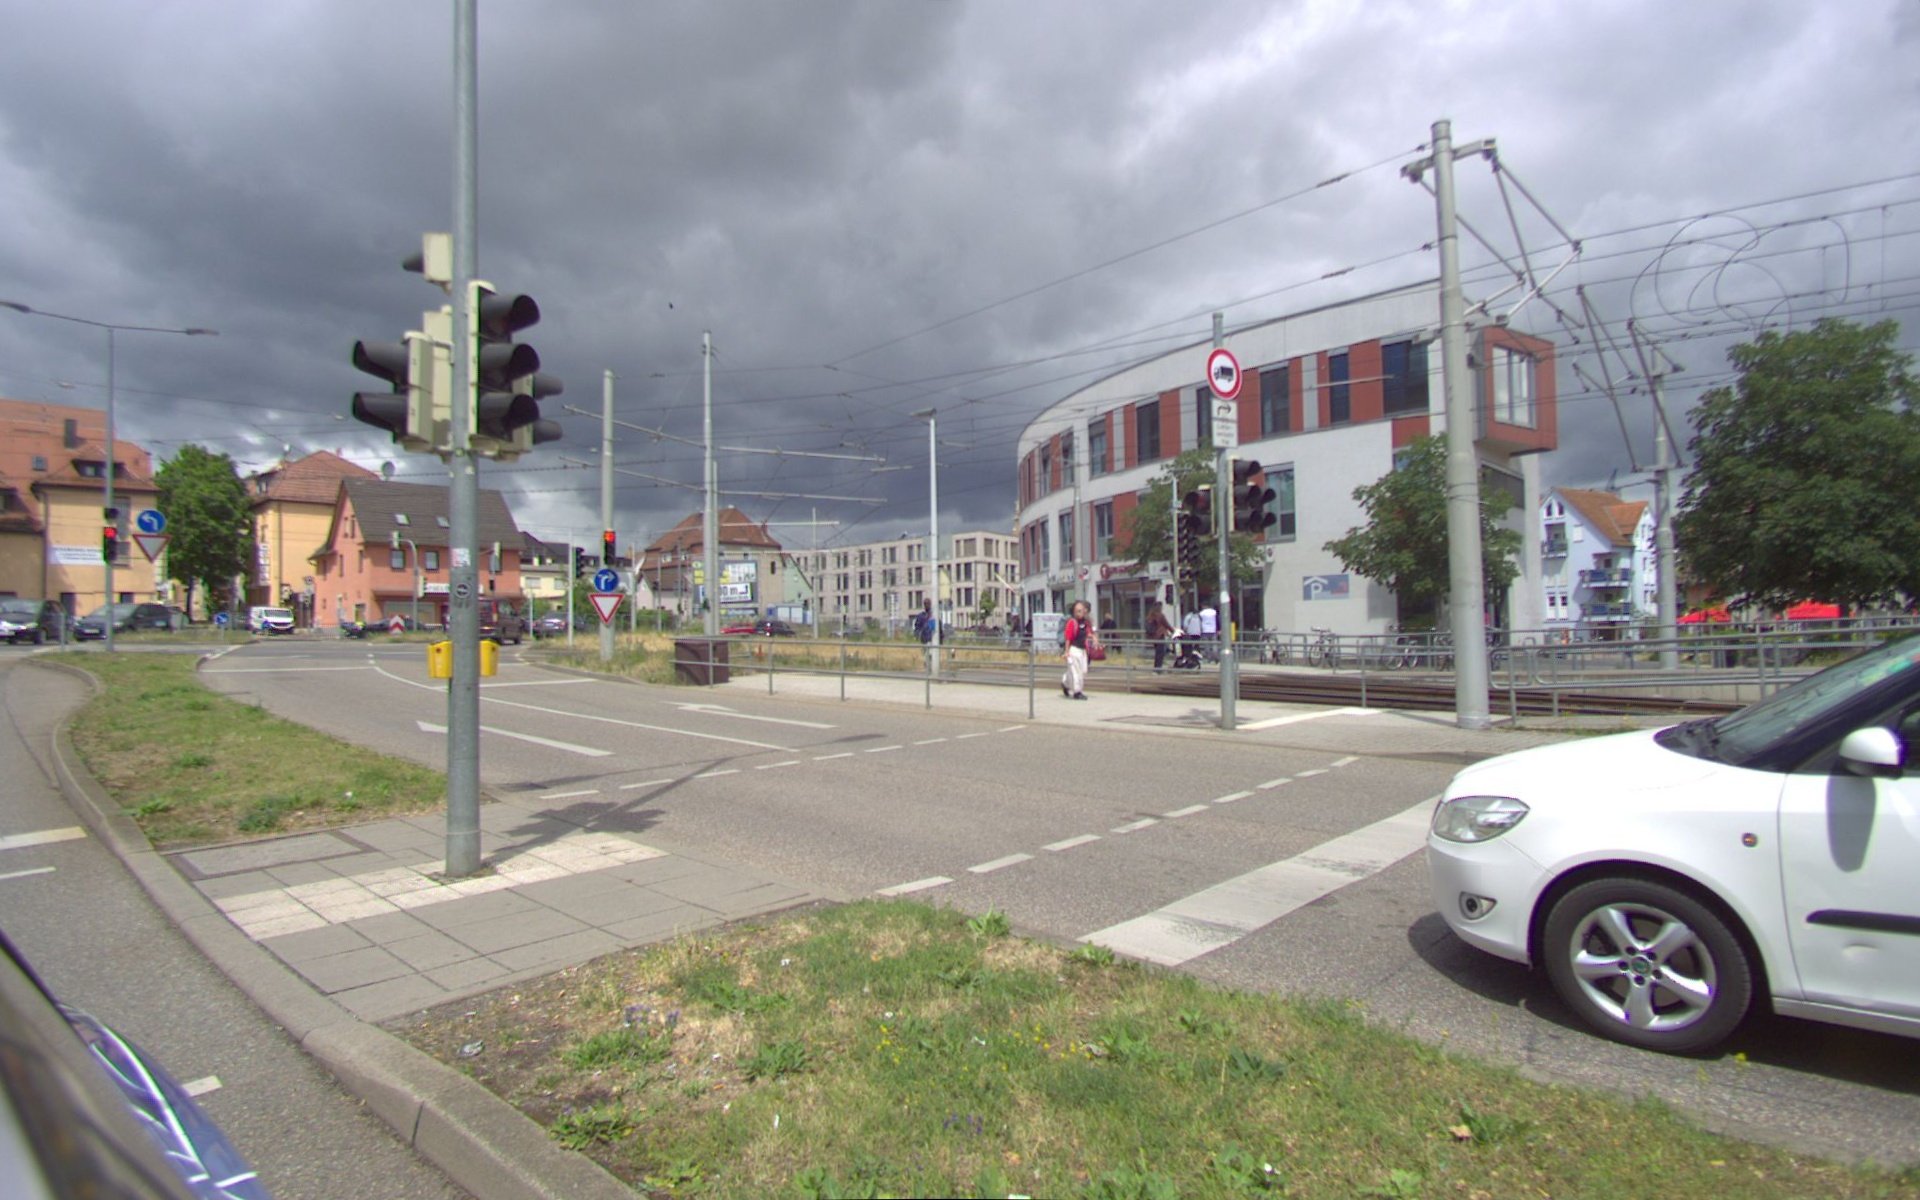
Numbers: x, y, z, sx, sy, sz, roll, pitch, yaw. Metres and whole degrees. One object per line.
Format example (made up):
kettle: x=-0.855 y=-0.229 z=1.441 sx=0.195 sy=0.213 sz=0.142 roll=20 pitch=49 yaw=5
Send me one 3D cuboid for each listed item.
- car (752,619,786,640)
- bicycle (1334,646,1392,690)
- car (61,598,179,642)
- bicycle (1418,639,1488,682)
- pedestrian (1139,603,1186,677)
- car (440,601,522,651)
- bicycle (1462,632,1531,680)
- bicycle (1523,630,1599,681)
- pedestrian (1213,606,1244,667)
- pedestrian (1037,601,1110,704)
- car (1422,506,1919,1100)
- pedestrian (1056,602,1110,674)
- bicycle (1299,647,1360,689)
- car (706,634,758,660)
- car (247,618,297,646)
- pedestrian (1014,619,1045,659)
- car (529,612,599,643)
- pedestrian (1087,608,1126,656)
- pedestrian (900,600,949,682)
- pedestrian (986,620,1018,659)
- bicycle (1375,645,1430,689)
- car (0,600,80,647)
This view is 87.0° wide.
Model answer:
car: x=-14.902 y=2.298 z=79.065 sx=1.786 sy=1.592 sz=4.294 roll=0 pitch=-1 yaw=1
bicycle: x=10.614 y=1.766 z=26.634 sx=1.876 sy=1.106 sz=0.695 roll=2 pitch=-2 yaw=-43
car: x=-34.464 y=0.866 z=41.681 sx=1.967 sy=1.662 sz=4.431 roll=-1 pitch=-3 yaw=-13
bicycle: x=12.212 y=1.485 z=25.065 sx=1.873 sy=1.037 sz=0.696 roll=2 pitch=-3 yaw=-33
pedestrian: x=4.520 y=0.882 z=22.565 sx=0.821 sy=1.608 sz=0.644 roll=1 pitch=-1 yaw=-38
car: x=-18.772 y=0.972 z=39.903 sx=1.966 sy=1.836 sz=5.086 roll=0 pitch=-1 yaw=-14
bicycle: x=12.715 y=1.306 z=23.958 sx=1.873 sy=1.106 sz=0.610 roll=2 pitch=-3 yaw=-34
bicycle: x=13.559 y=1.241 z=22.819 sx=1.873 sy=1.106 sz=0.696 roll=2 pitch=-5 yaw=-34
pedestrian: x=7.882 y=1.072 z=29.709 sx=0.829 sy=1.748 sz=0.665 roll=0 pitch=-2 yaw=22
pedestrian: x=1.784 y=0.800 z=15.826 sx=0.834 sy=1.552 sz=0.791 roll=-1 pitch=-2 yaw=41
car: x=3.781 y=0.549 z=2.954 sx=4.078 sy=1.661 sz=1.680 roll=-2 pitch=-2 yaw=43
pedestrian: x=2.889 y=0.896 z=23.782 sx=0.851 sy=1.649 sz=0.921 roll=3 pitch=-3 yaw=-44
bicycle: x=9.971 y=1.829 z=27.293 sx=1.874 sy=1.106 sz=0.695 roll=3 pitch=-4 yaw=-39
car: x=-18.801 y=3.851 z=83.574 sx=1.993 sy=2.029 sz=3.958 roll=-3 pitch=-3 yaw=31
car: x=-49.403 y=2.270 z=72.637 sx=4.663 sy=1.912 sz=2.051 roll=-2 pitch=-2 yaw=44
pedestrian: x=3.626 y=2.025 z=52.745 sx=1.235 sy=2.029 sz=1.143 roll=1 pitch=-2 yaw=-24
car: x=-19.785 y=1.351 z=50.822 sx=1.776 sy=1.421 sz=5.056 roll=1 pitch=-1 yaw=-3
pedestrian: x=6.329 y=1.398 z=43.835 sx=1.236 sy=2.029 sz=1.143 roll=2 pitch=-2 yaw=-29
pedestrian: x=-0.714 y=0.826 z=20.553 sx=0.668 sy=1.616 sz=0.826 roll=0 pitch=-2 yaw=30
pedestrian: x=2.172 y=2.051 z=52.500 sx=1.235 sy=2.029 sz=1.143 roll=1 pitch=-2 yaw=-24
bicycle: x=11.387 y=1.707 z=26.005 sx=0.694 sy=1.071 sz=1.877 roll=-1 pitch=-2 yaw=44
car: x=-31.758 y=0.828 z=34.309 sx=1.851 sy=1.440 sz=4.013 roll=0 pitch=-3 yaw=-25
